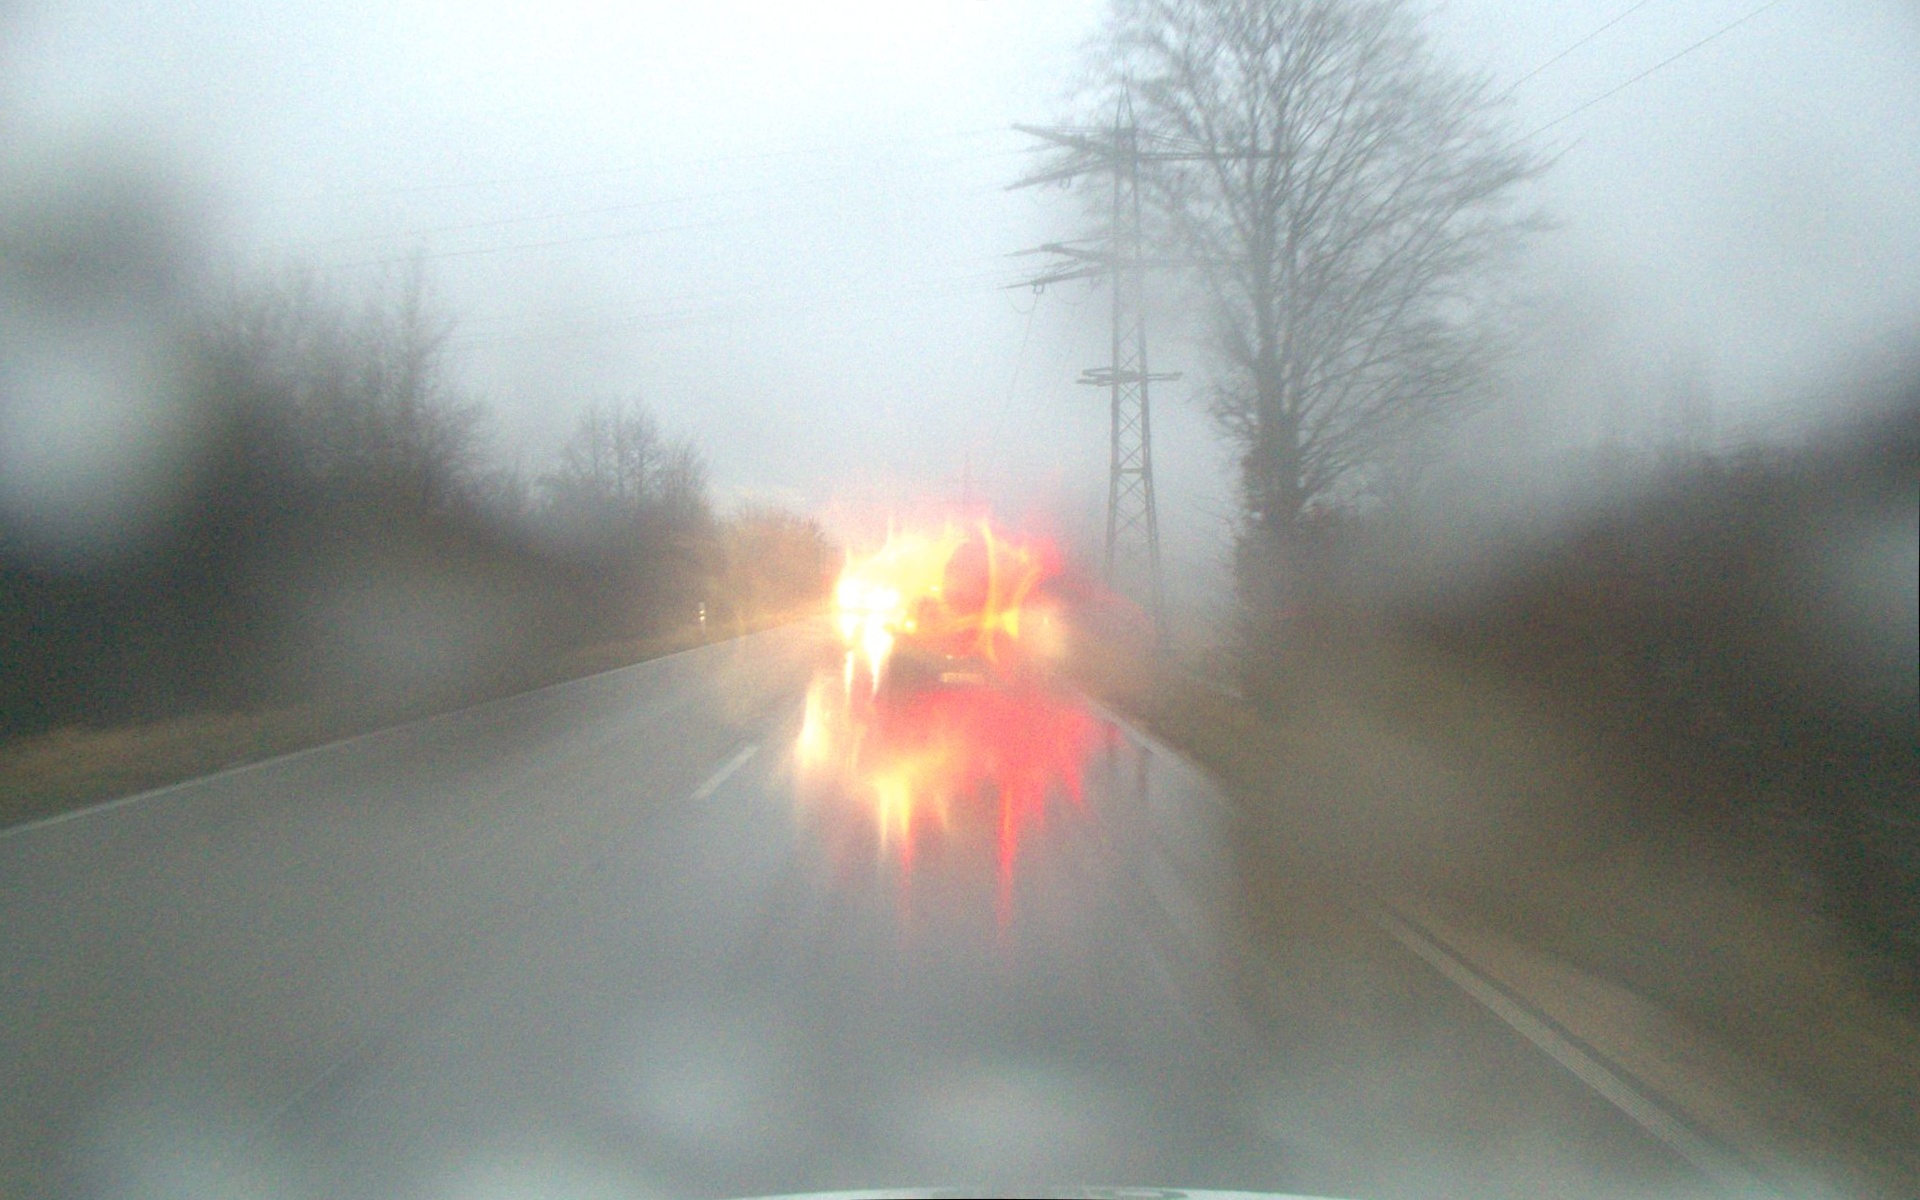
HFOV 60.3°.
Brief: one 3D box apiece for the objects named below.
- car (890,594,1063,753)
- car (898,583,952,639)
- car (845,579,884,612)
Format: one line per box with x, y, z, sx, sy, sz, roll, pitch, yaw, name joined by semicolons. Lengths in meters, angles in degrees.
0.153;0.827;20.698;1.953;1.783;3.999;0;0;-1;car
-1.329;0.402;63.104;1.953;2.049;3.999;-1;0;-1;car
-5.151;-0.238;89.454;1.772;1.562;4.407;7;0;-1;car
